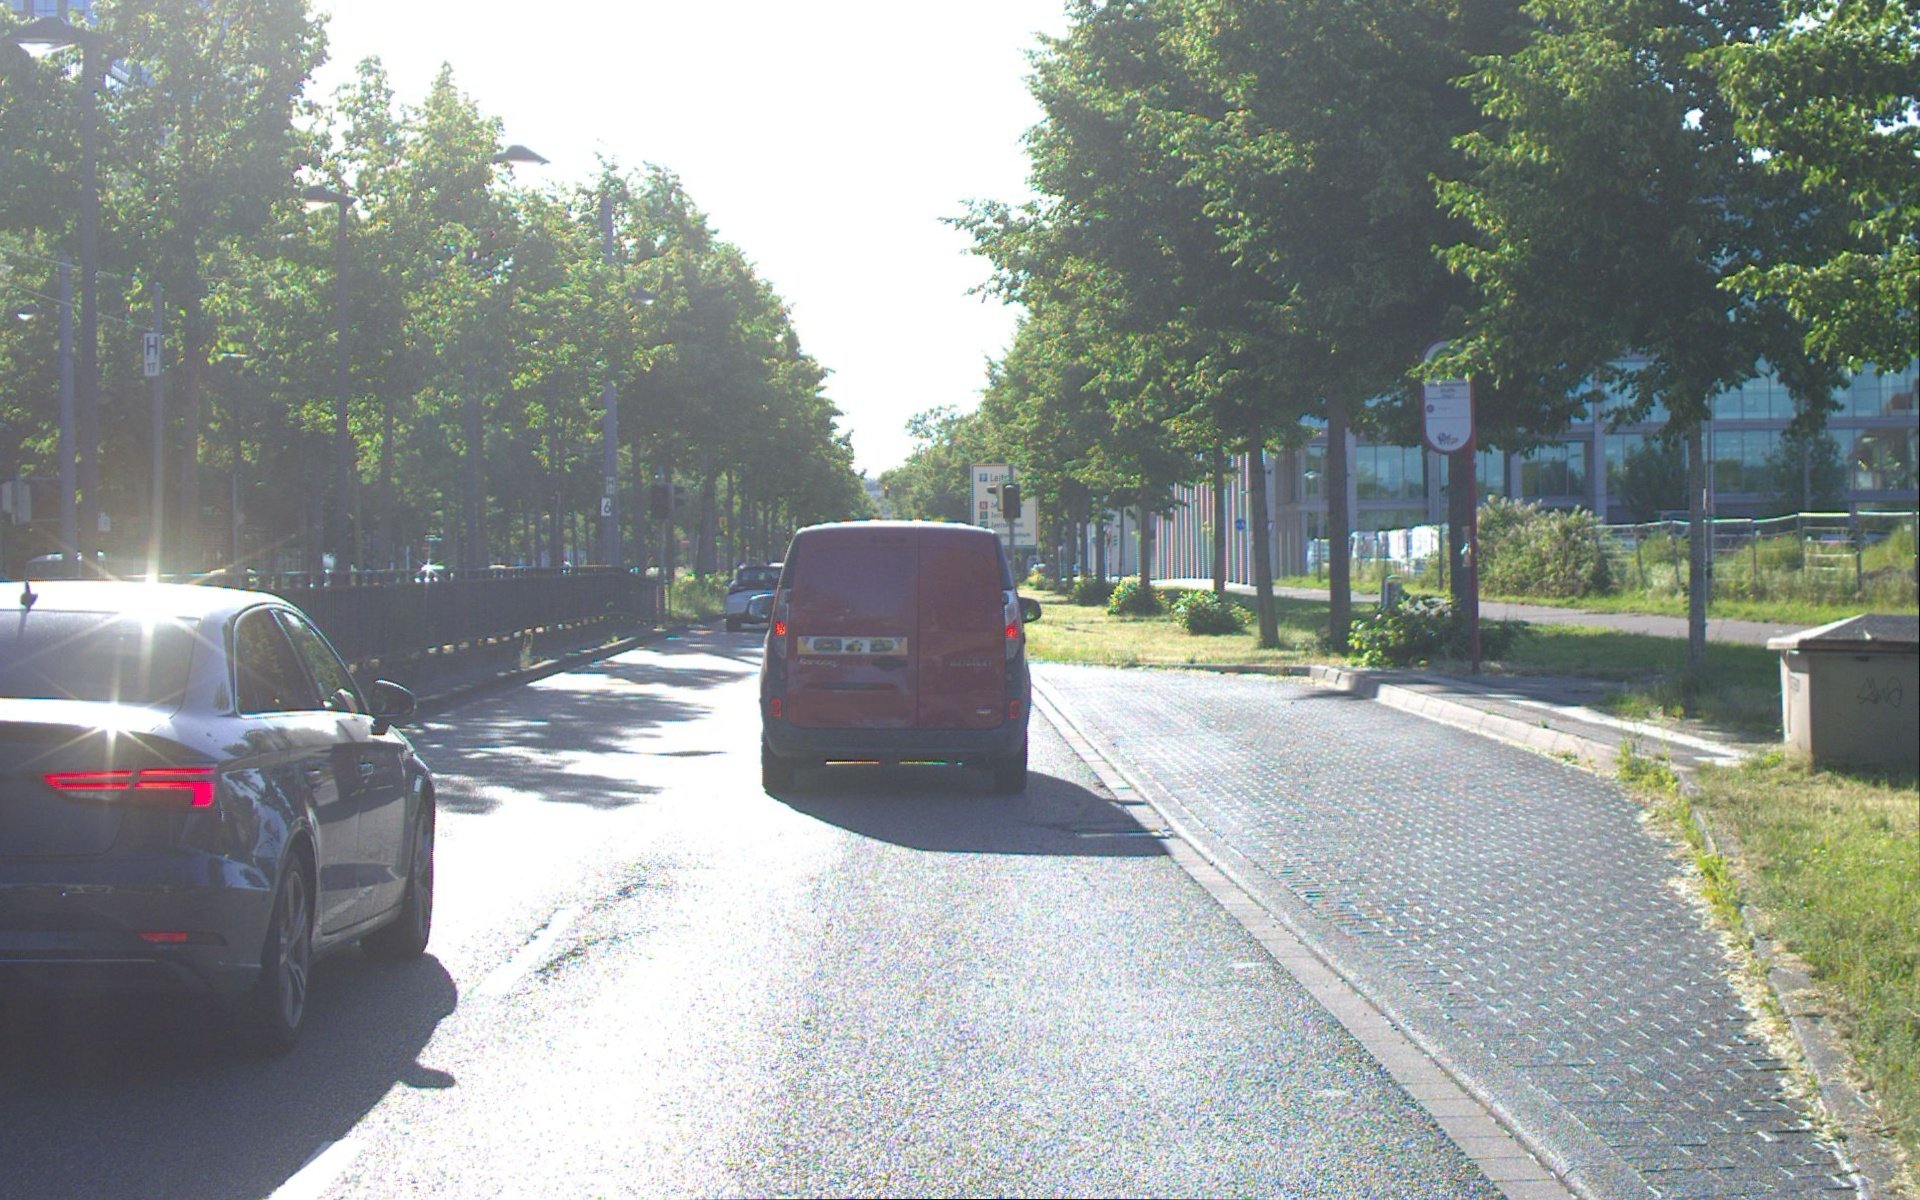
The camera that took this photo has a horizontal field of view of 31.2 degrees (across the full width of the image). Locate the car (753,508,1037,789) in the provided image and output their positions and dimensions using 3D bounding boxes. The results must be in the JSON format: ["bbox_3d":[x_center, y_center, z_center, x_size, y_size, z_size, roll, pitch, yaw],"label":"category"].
[{"bbox_3d":[-0.505,0.303,23.842,1.797,1.771,4.000,0,0,-3],"label":"car"}]

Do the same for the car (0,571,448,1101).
[{"bbox_3d":[-2.845,0.615,11.276,1.721,1.361,4.146,1,1,0],"label":"car"}]

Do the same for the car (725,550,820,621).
[{"bbox_3d":[-3.949,-0.327,72.694,1.942,1.436,4.000,-1,1,-3],"label":"car"}]

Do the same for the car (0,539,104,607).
[{"bbox_3d":[-24.712,-0.725,93.226,1.993,1.744,4.228,-2,0,-1],"label":"car"}]
